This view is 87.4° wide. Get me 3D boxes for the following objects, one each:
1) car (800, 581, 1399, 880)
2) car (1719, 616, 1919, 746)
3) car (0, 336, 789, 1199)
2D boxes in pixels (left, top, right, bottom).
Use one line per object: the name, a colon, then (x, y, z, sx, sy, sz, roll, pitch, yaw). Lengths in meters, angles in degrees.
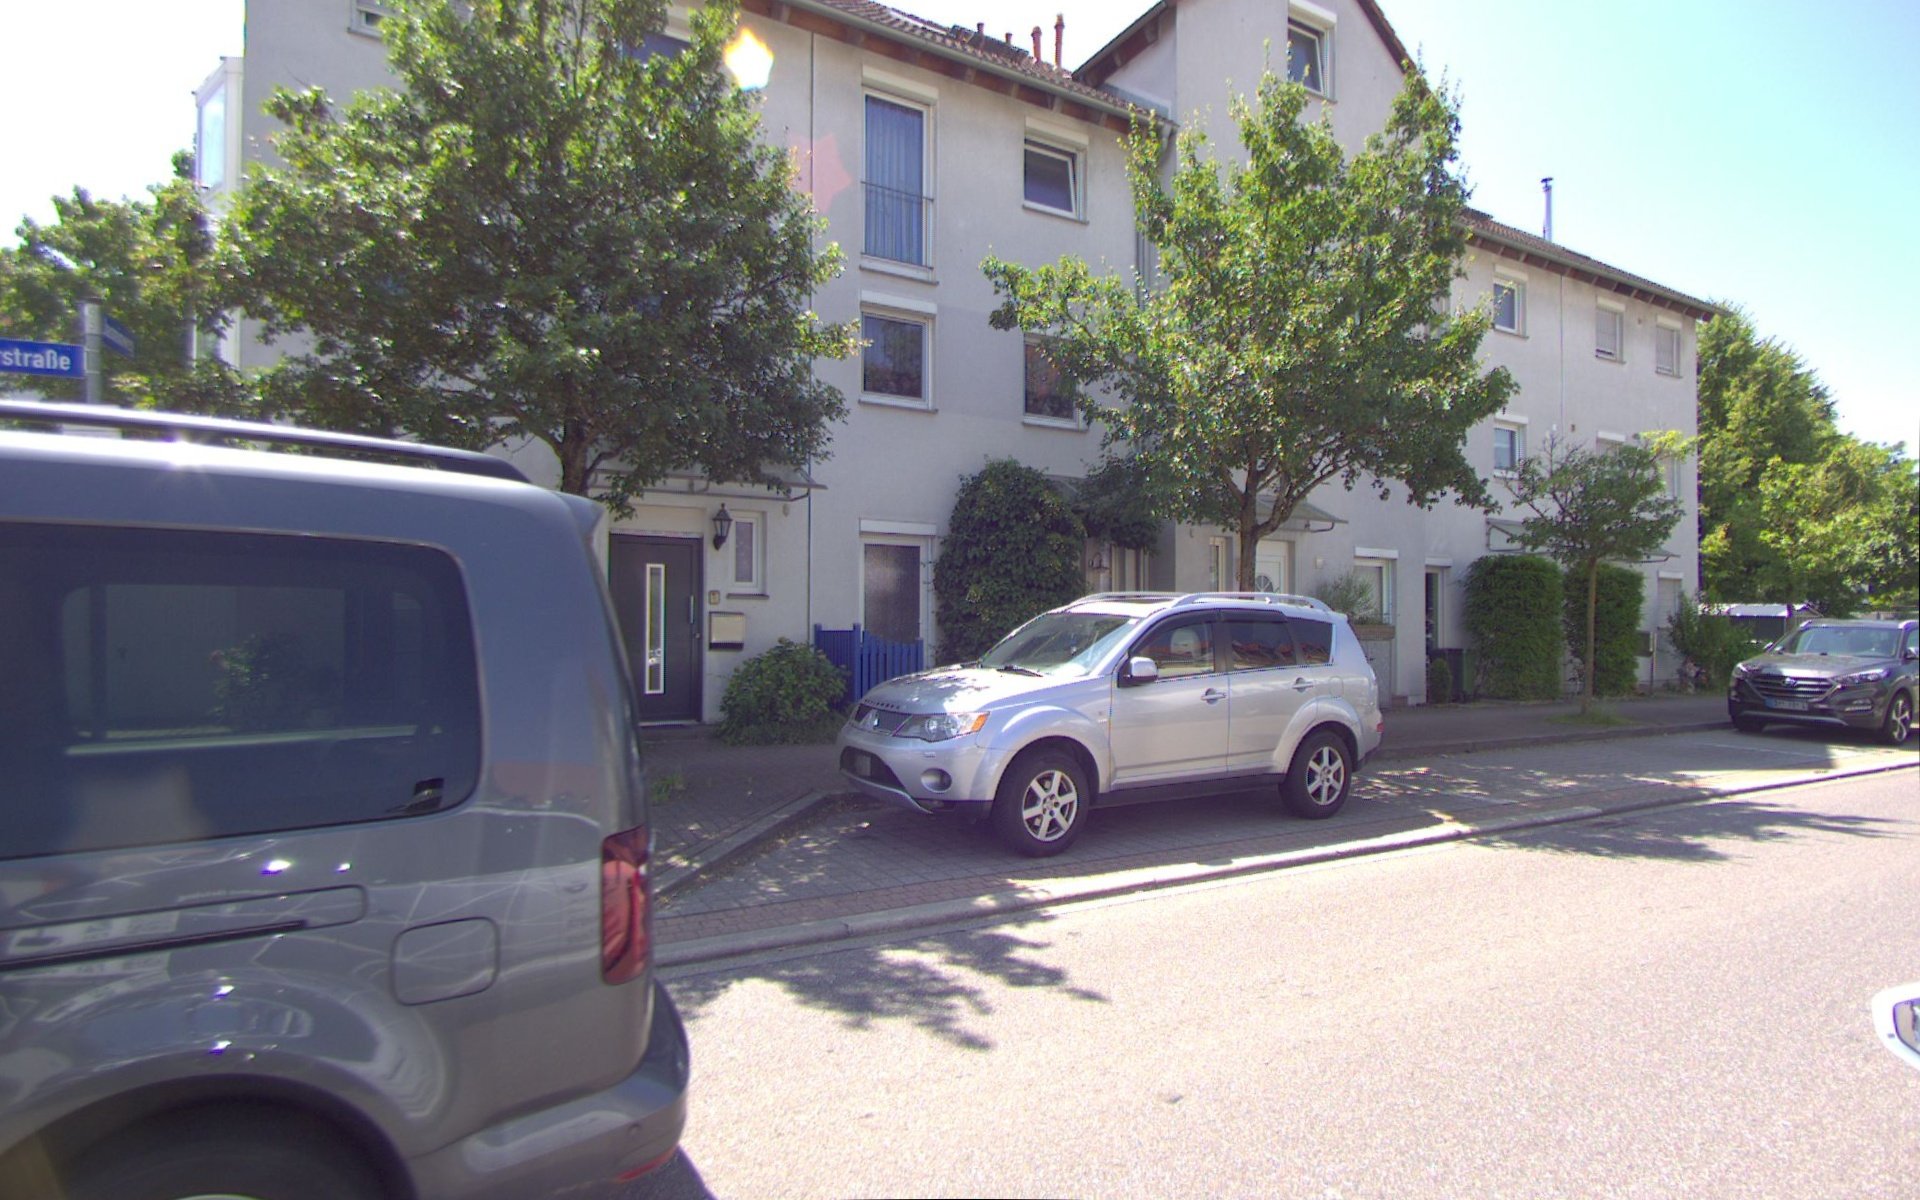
car: (1.196, 0.786, 7.655, 4.474, 1.709, 1.697, 1, 0, -31)
car: (12.902, 1.083, 14.522, 3.950, 1.641, 1.684, 1, -1, -30)
car: (-2.667, 0.559, 1.726, 4.411, 1.879, 1.648, 1, -3, -30)
